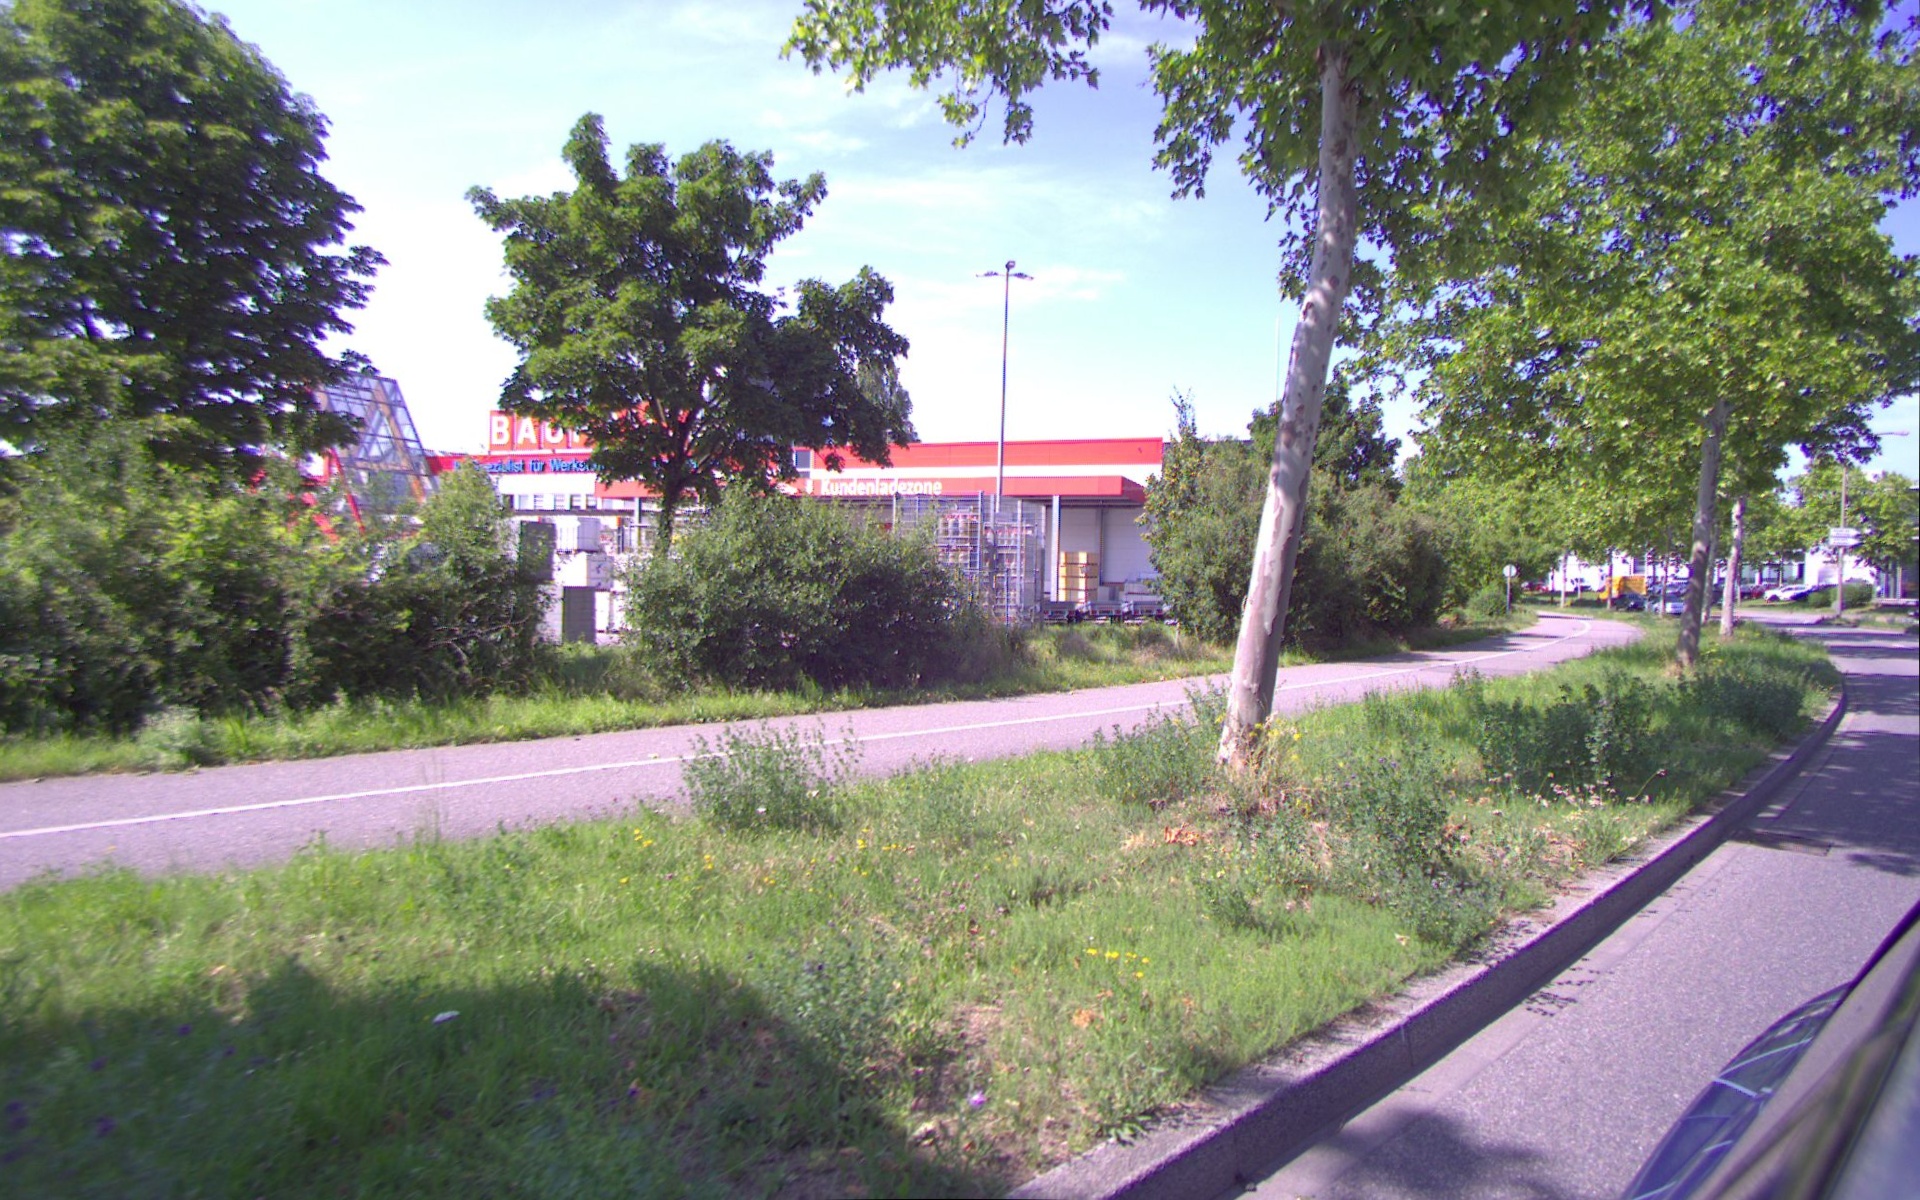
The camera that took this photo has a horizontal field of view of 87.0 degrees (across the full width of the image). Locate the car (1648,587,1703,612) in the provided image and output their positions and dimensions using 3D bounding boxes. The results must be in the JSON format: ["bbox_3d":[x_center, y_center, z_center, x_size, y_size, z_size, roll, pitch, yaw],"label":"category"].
[{"bbox_3d":[47.485,-0.069,67.243,1.801,1.540,4.184,1,1,18],"label":"car"}]

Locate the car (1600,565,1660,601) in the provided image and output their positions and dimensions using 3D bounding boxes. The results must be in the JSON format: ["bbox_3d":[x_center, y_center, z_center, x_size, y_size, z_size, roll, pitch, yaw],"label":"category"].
[{"bbox_3d":[67.665,-1.698,102.380,2.741,3.475,5.993,-1,0,9],"label":"car"}]
